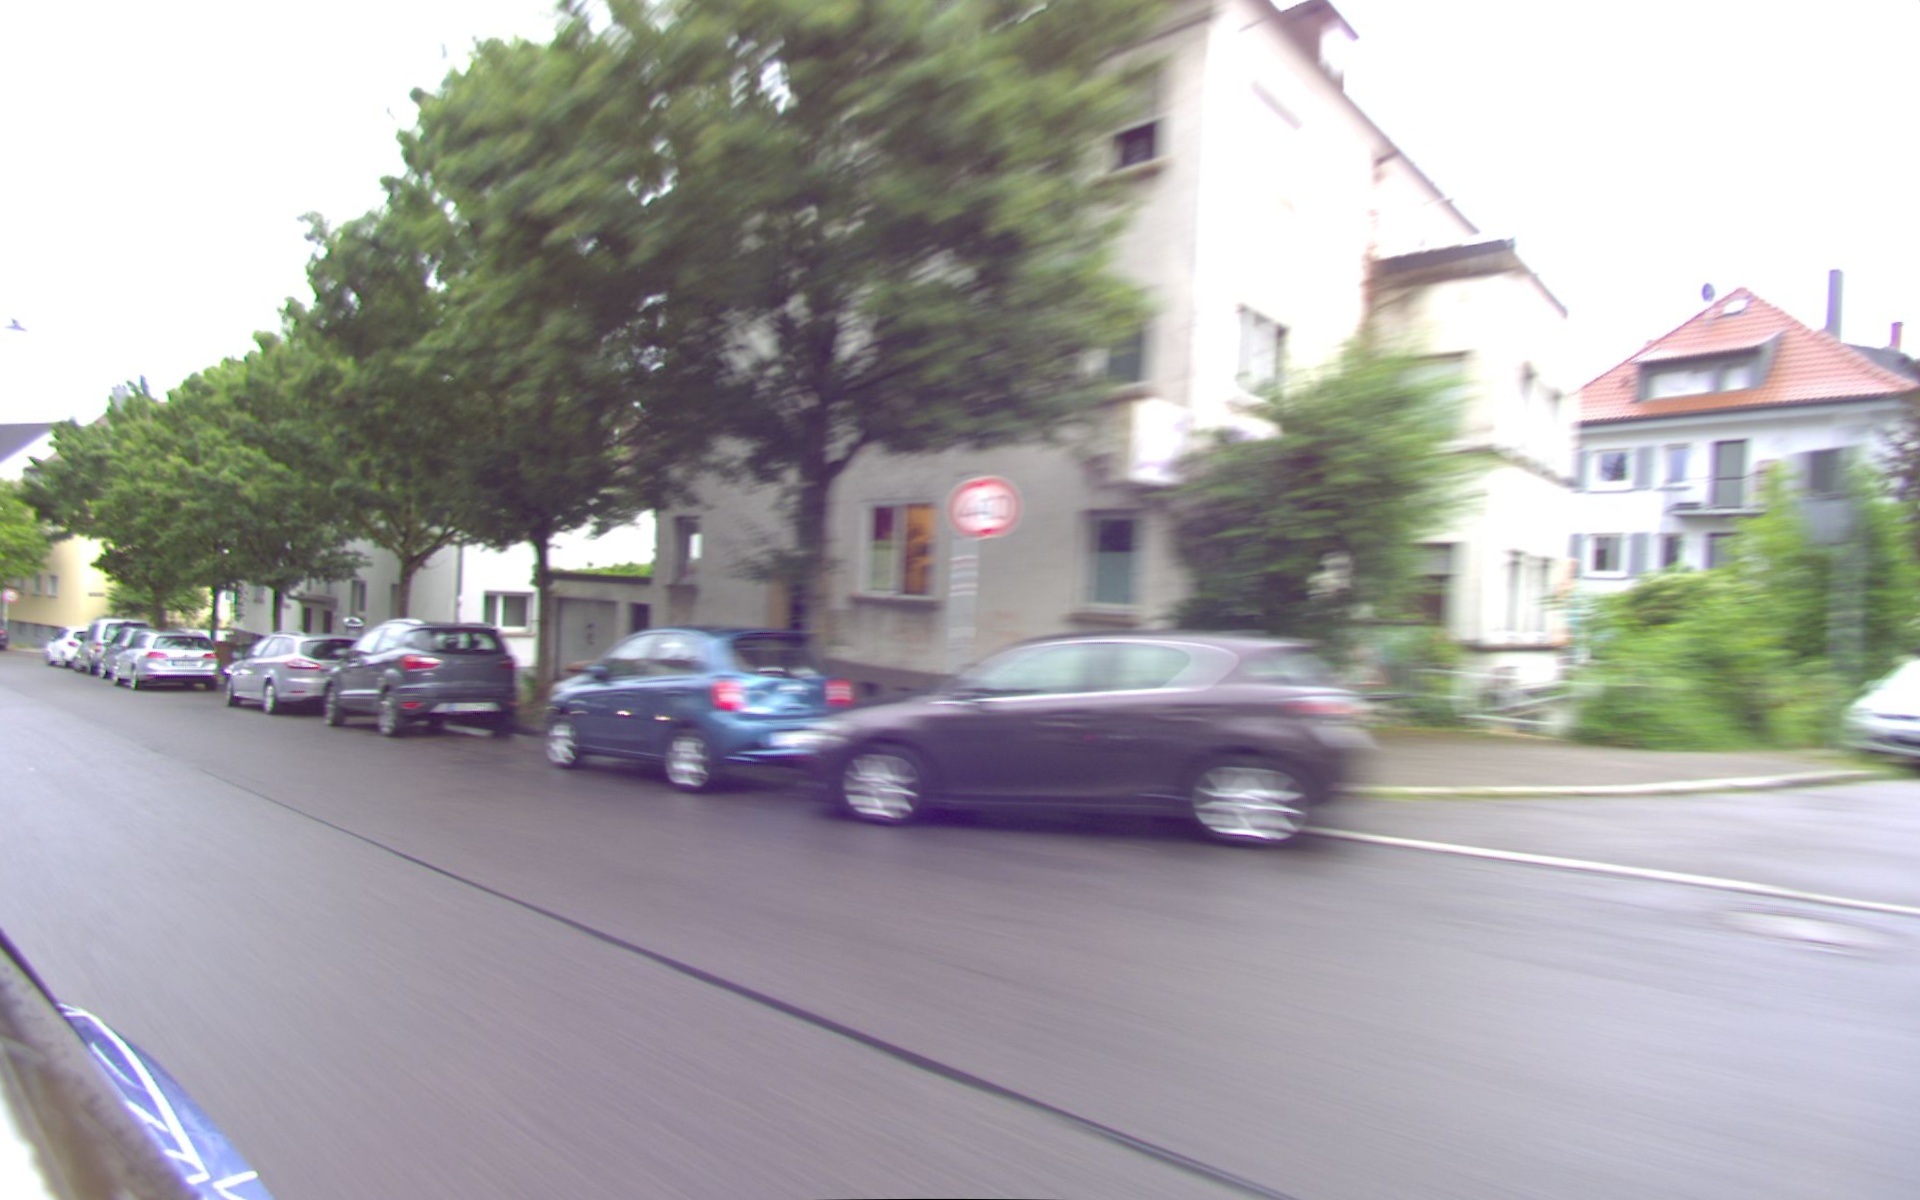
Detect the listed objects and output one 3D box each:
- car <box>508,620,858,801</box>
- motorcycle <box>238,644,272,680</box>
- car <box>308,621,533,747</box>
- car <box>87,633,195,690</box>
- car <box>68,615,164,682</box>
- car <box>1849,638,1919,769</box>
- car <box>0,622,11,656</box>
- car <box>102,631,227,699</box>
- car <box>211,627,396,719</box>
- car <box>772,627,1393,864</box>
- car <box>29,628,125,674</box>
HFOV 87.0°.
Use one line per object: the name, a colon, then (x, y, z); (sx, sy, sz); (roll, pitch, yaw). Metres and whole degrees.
car: (-2.985, 1.015, 10.464); (3.881, 1.474, 1.694); (-3, -1, 43)
motorcycle: (-22.867, 2.002, 32.825); (1.618, 1.107, 0.407); (-2, -3, 38)
car: (-8.382, 1.167, 15.575); (4.138, 1.639, 1.785); (-1, -1, 42)
car: (-25.072, 1.847, 30.922); (4.234, 1.497, 1.786); (0, -3, 41)
car: (-28.701, 1.575, 34.360); (4.547, 2.016, 1.894); (0, 1, 42)
car: (13.280, 1.436, 12.957); (4.038, 1.529, 2.005); (7, -3, -36)
car: (-46.367, 1.835, 47.165); (4.495, 1.552, 1.764); (-1, 0, 28)
car: (-20.800, 1.626, 26.384); (4.595, 1.464, 1.786); (0, 1, 42)
car: (-12.758, 1.334, 19.531); (4.799, 1.564, 1.785); (-2, -4, 42)
car: (0.900, 0.925, 7.714); (4.159, 1.401, 1.990); (0, -1, 16)
car: (-33.417, 1.900, 38.276); (4.338, 1.526, 1.768); (1, -3, 37)
